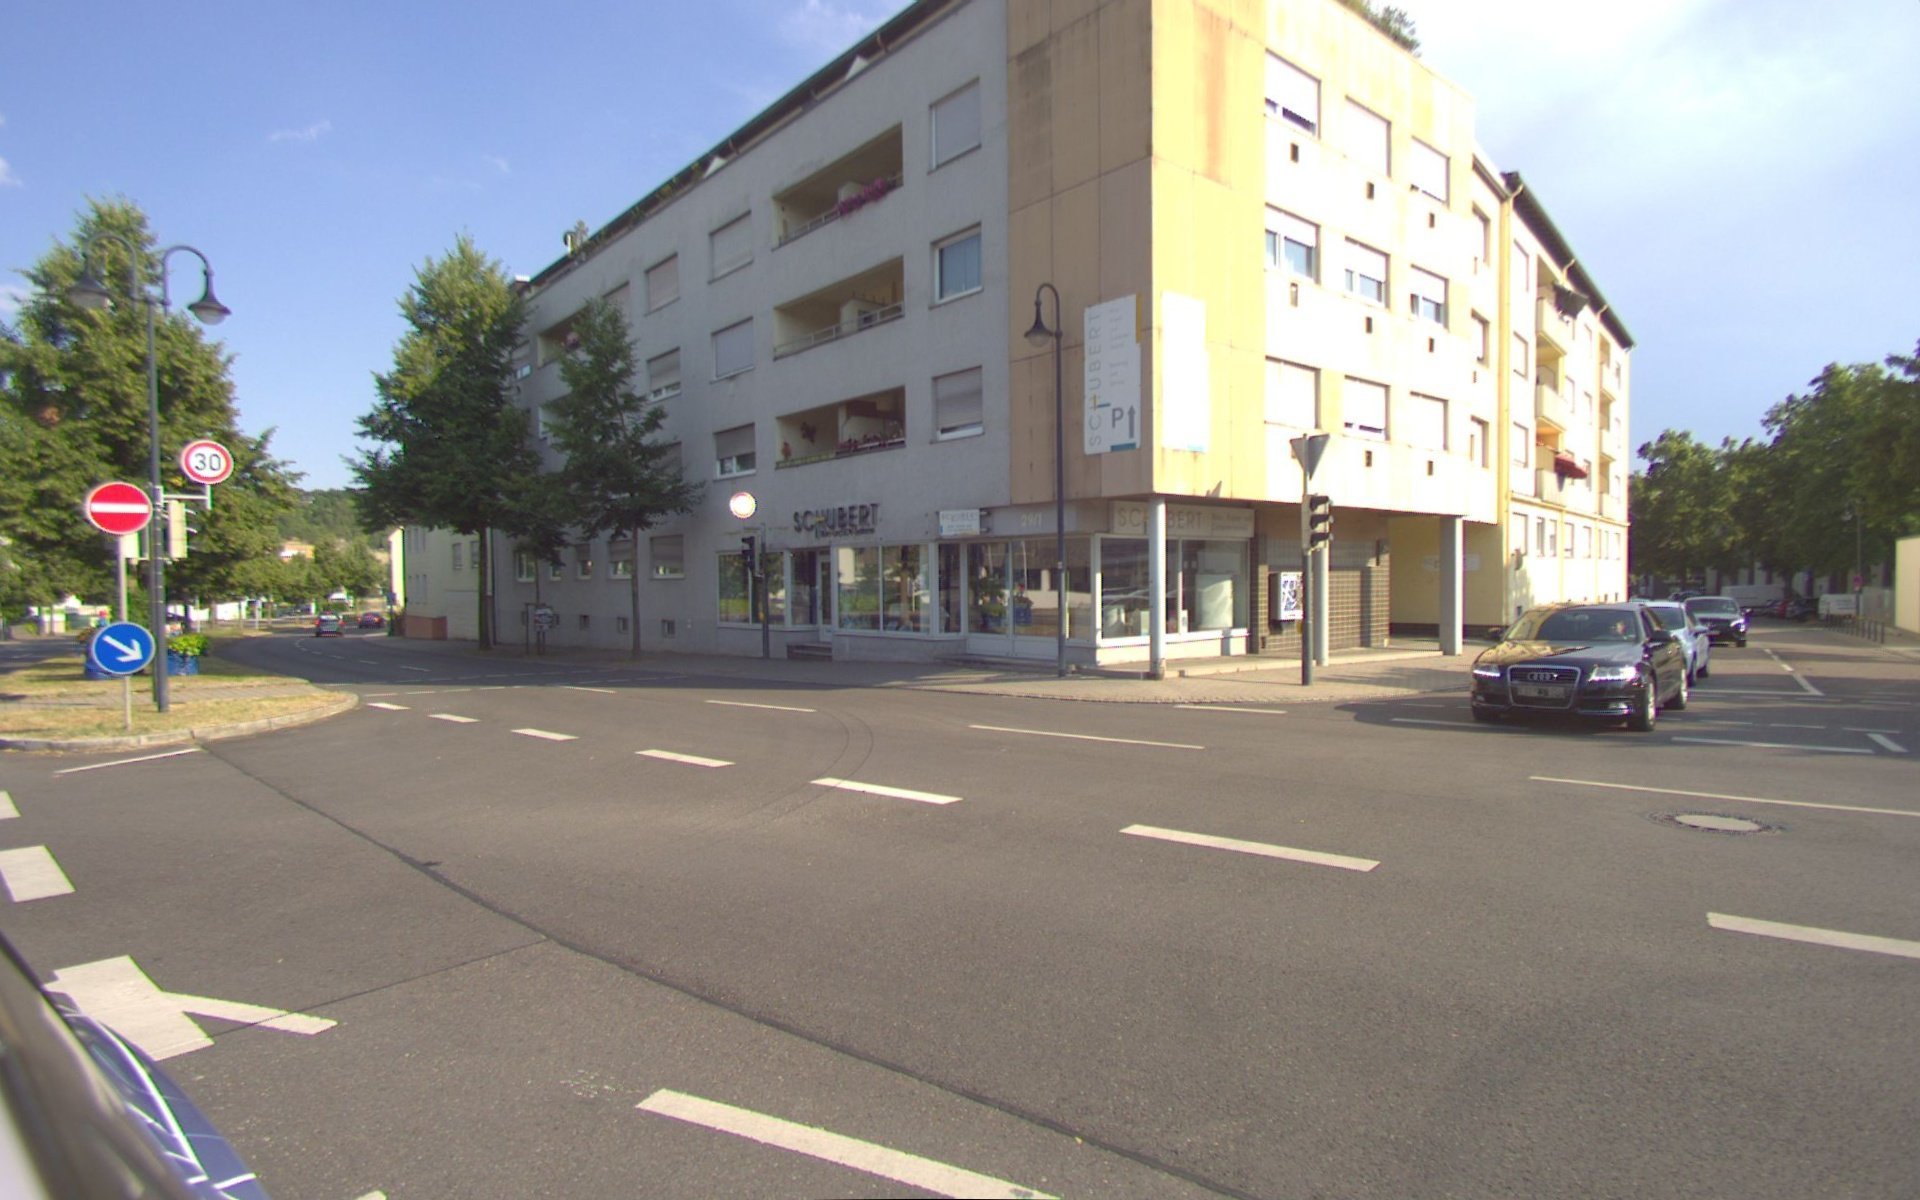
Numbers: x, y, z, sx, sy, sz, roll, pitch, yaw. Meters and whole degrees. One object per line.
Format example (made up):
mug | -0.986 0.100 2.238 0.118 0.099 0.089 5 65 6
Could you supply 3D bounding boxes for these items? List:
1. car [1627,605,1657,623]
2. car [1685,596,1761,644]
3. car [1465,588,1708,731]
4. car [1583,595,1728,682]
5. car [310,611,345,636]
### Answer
car | 48.489 0.972 71.938 1.744 1.269 3.549 -1 -1 35
car | 24.542 0.616 32.504 1.747 1.447 3.544 -1 -1 40
car | 8.015 0.614 12.717 1.916 1.447 4.809 -1 -1 40
car | 13.043 0.654 18.885 1.866 1.447 3.774 -1 -1 40
car | -46.316 1.715 74.216 1.826 1.750 4.938 0 -1 -28
